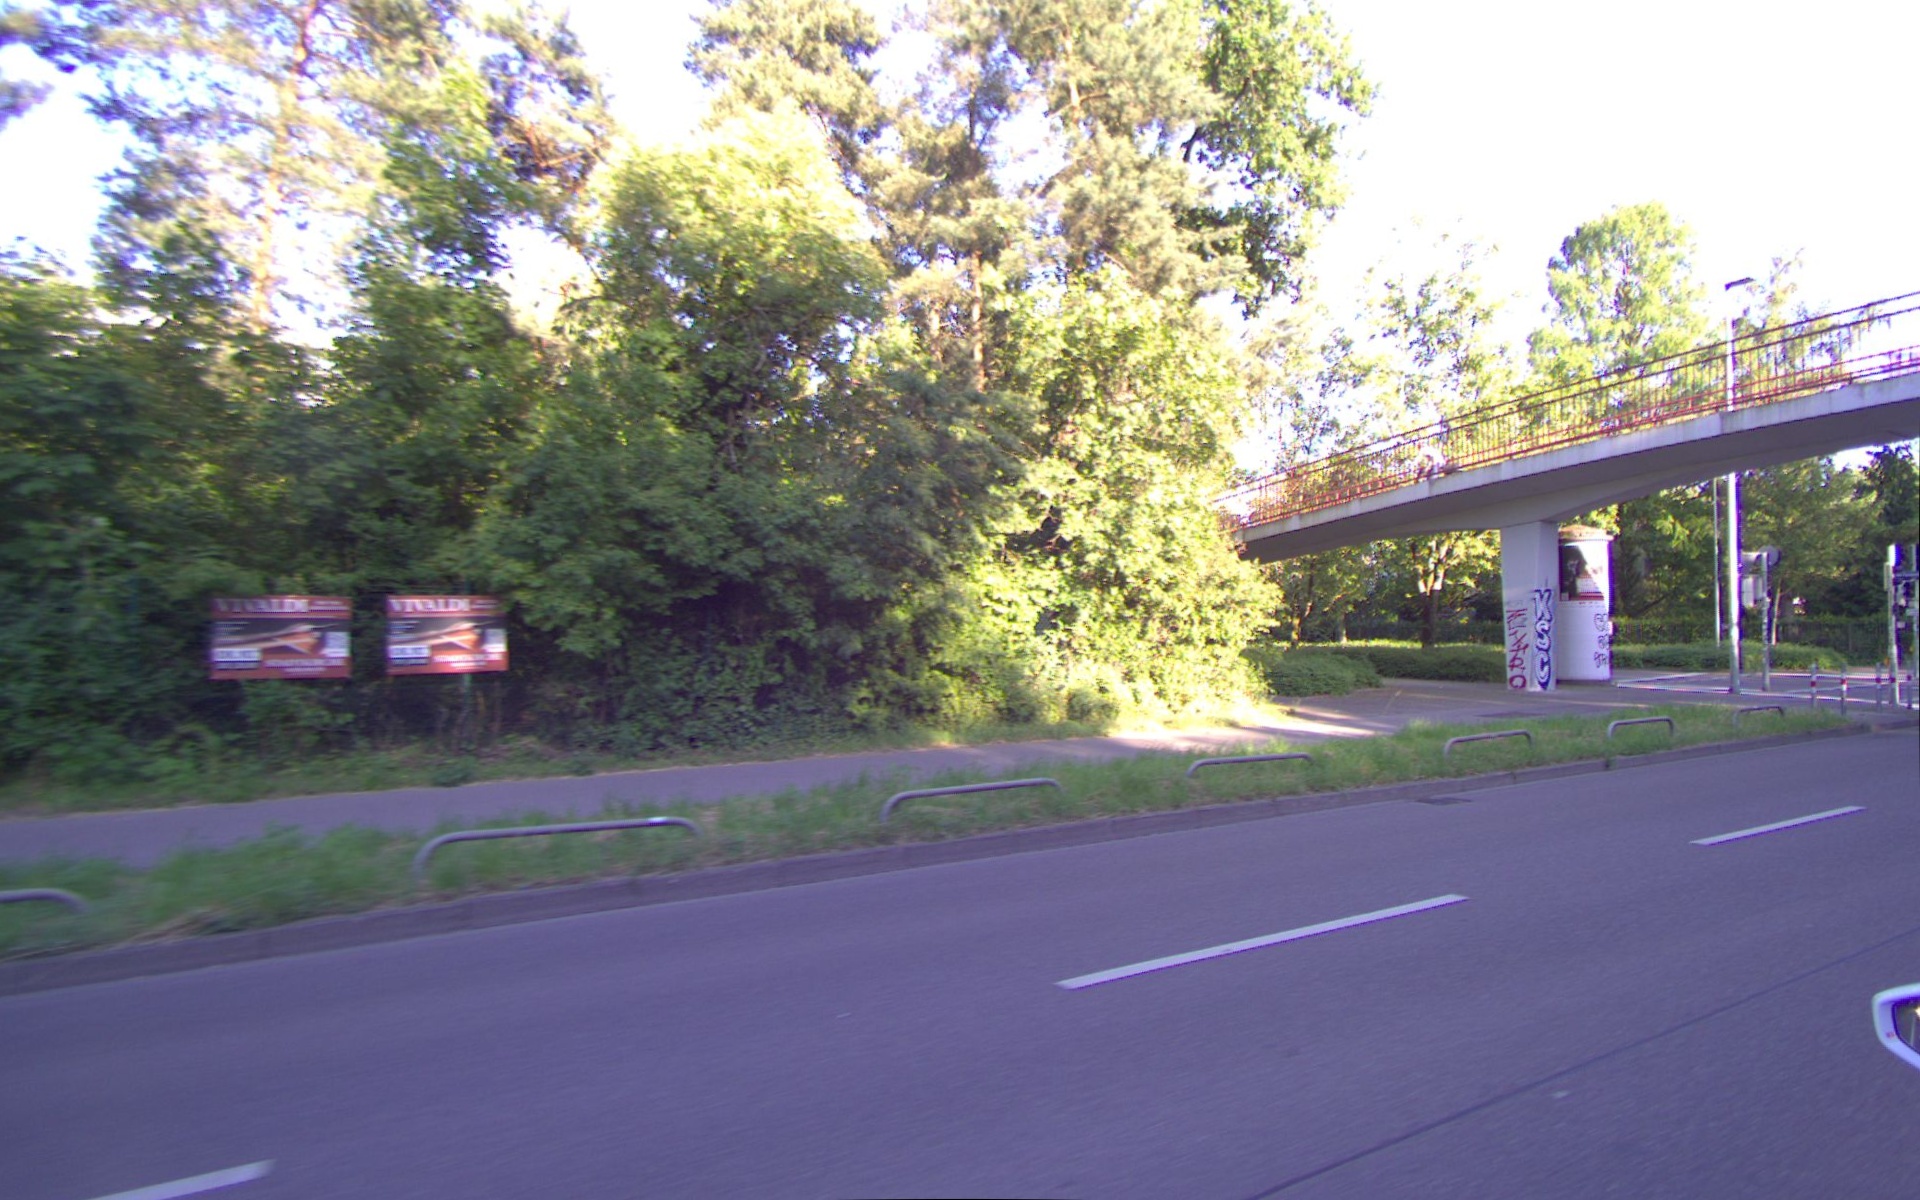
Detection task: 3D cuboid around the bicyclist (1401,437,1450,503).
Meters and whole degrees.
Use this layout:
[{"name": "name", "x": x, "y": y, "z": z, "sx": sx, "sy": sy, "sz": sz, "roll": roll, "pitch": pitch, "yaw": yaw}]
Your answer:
[{"name": "bicyclist", "x": 12.549, "y": -3.472, "z": 27.075, "sx": 0.706, "sy": 1.607, "sz": 0.965, "roll": 2, "pitch": -1, "yaw": -32}]

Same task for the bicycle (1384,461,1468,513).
[{"name": "bicycle", "x": 12.540, "y": -3.022, "z": 27.085, "sx": 0.706, "sy": 1.162, "sz": 1.976, "roll": 2, "pitch": -1, "yaw": -31}]
